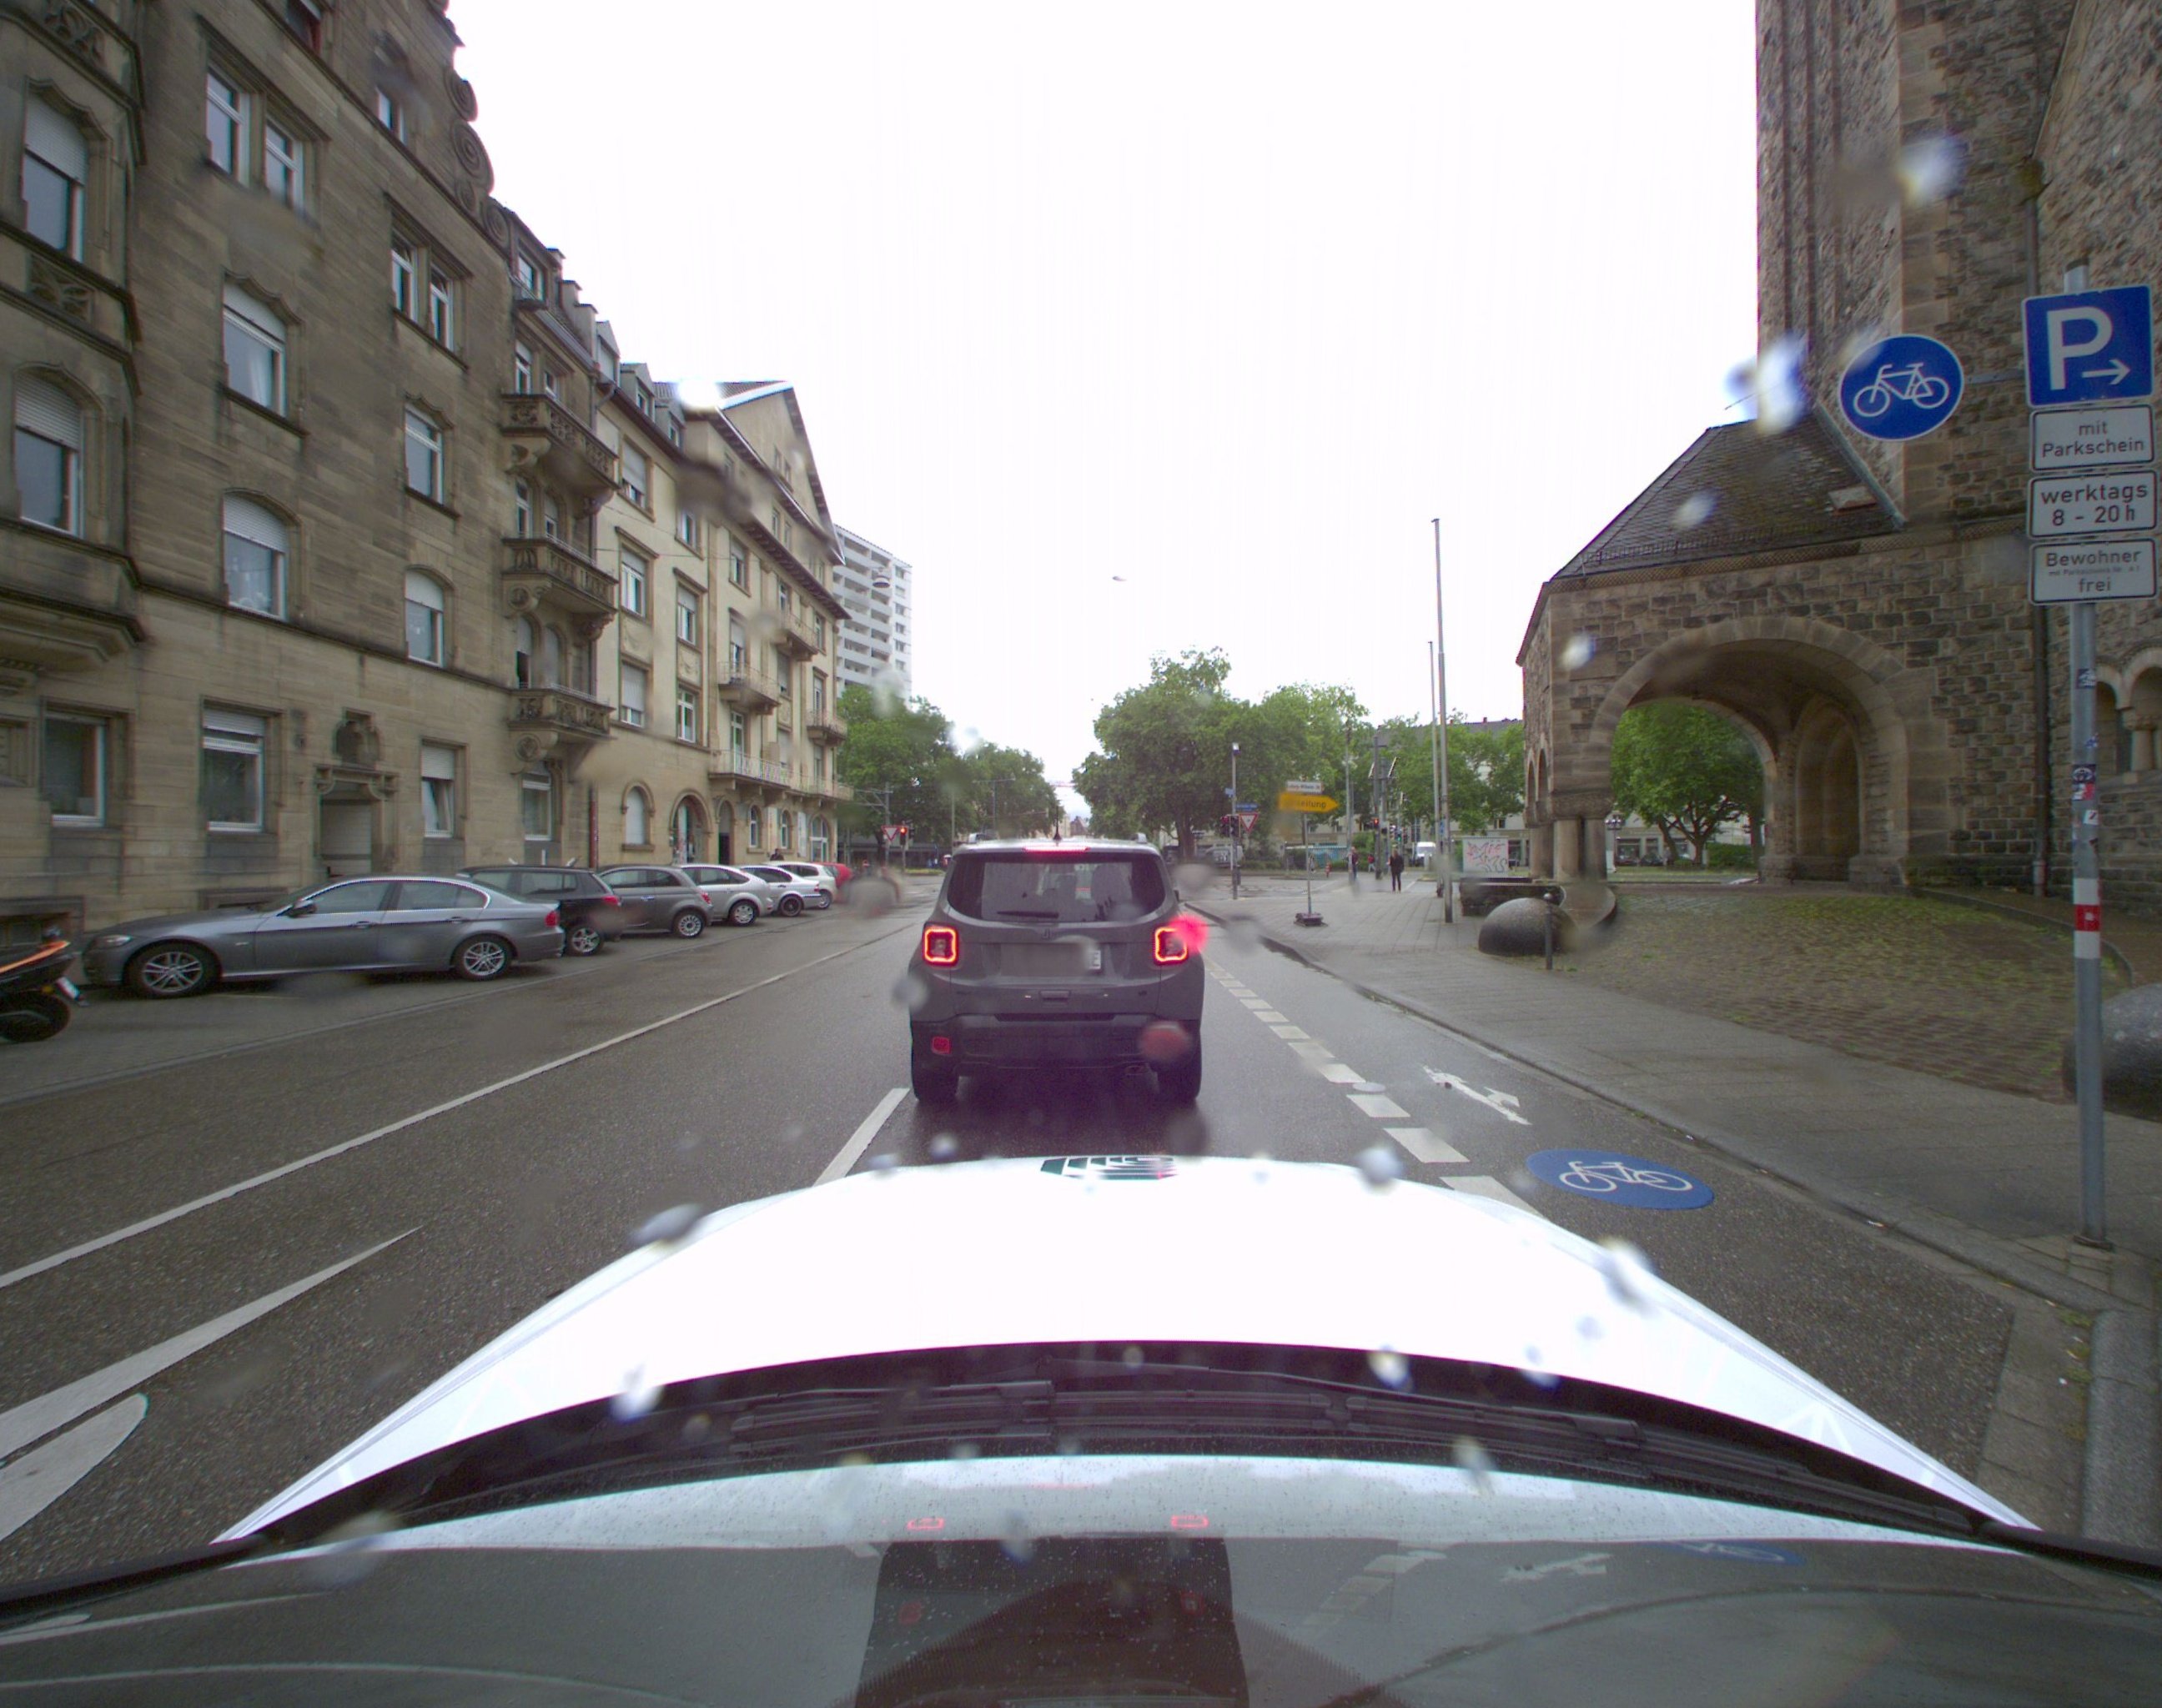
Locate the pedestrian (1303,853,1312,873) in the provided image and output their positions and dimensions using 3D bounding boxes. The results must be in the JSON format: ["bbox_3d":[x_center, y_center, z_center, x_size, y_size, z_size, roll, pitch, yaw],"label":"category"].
[{"bbox_3d":[18.637,0.718,66.896,0.607,1.603,0.497,-1,-1,26],"label":"pedestrian"}]

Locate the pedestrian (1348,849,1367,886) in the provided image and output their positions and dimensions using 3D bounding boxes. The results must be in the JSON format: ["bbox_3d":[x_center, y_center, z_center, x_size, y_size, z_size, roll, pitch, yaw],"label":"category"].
[{"bbox_3d":[13.436,0.640,39.590,0.780,1.759,0.949,-2,-1,16],"label":"pedestrian"}]

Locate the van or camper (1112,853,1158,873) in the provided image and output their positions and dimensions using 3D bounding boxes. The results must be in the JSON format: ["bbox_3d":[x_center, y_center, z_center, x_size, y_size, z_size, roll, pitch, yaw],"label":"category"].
[{"bbox_3d":[8.240,1.377,124.865,6.466,2.912,2.509,-1,0,26],"label":"van or camper"}]

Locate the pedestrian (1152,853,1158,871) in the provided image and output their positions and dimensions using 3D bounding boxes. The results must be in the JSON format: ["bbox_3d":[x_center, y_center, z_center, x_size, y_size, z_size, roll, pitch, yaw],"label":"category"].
[{"bbox_3d":[8.459,0.881,92.916,0.646,2.014,0.484,-1,-1,14],"label":"pedestrian"}]

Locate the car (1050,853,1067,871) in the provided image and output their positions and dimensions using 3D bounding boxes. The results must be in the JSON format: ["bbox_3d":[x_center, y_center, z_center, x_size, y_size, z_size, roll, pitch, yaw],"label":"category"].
[{"bbox_3d":[-2.374,0.827,85.225,1.717,1.739,3.726,-1,0,-2],"label":"car"}]

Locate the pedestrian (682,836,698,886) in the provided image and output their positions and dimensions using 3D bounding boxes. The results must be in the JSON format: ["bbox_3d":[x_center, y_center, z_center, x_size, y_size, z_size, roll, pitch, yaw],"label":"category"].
[{"bbox_3d":[-14.383,0.241,29.955,0.365,1.823,0.347,-2,-1,-1],"label":"pedestrian"}]

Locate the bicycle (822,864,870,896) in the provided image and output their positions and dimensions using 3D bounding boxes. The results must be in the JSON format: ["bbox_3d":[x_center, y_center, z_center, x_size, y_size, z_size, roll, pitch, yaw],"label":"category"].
[{"bbox_3d":[-9.695,1.080,33.677,1.804,1.266,0.498,-1,-1,-1],"label":"bicycle"}]

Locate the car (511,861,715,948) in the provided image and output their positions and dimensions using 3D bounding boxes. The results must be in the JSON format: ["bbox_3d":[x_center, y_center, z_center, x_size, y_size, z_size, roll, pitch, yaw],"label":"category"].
[{"bbox_3d":[-9.529,0.943,16.663,3.419,1.558,1.634,-1,0,-38],"label":"car"}]

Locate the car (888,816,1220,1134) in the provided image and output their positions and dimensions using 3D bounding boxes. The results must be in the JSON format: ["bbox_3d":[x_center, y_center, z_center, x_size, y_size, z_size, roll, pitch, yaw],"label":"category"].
[{"bbox_3d":[-0.123,0.663,6.385,1.769,1.687,3.848,-2,0,1],"label":"car"}]

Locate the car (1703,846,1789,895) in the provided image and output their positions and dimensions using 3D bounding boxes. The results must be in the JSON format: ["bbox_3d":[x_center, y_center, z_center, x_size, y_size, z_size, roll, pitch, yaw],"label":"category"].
[{"bbox_3d":[21.420,0.509,26.345,1.389,1.479,3.239,-1,0,25],"label":"car"}]

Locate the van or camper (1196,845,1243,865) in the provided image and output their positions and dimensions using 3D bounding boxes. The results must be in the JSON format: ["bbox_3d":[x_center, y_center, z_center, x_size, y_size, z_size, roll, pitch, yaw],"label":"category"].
[{"bbox_3d":[16.076,0.111,94.725,5.234,2.315,2.093,0,0,5],"label":"van or camper"}]

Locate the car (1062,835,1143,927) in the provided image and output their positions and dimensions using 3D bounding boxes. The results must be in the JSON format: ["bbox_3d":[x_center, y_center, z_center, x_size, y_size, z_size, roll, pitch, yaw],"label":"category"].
[{"bbox_3d":[0.528,0.612,20.092,1.764,2.013,4.001,-1,0,1],"label":"car"}]

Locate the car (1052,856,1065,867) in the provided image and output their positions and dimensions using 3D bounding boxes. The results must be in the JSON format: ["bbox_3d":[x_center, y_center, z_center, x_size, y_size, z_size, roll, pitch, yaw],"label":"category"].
[{"bbox_3d":[-3.351,1.076,121.392,1.810,1.670,3.916,-1,0,-3],"label":"car"}]

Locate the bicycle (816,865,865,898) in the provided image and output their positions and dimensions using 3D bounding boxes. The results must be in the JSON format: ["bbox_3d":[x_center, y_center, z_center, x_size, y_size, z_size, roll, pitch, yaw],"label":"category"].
[{"bbox_3d":[-9.581,1.074,32.443,1.758,1.266,0.522,-1,-1,-1],"label":"bicycle"}]

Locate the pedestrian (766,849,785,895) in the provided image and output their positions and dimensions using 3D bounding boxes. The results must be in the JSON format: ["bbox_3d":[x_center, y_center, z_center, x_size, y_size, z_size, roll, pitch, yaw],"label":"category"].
[{"bbox_3d":[-13.446,0.787,35.866,0.565,2.014,0.655,-1,0,1],"label":"pedestrian"}]

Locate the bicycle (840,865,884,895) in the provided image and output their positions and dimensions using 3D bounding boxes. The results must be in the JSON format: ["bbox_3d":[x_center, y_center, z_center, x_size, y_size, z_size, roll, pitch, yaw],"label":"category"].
[{"bbox_3d":[-9.555,1.112,35.582,1.758,1.266,0.608,-1,-1,-1],"label":"bicycle"}]

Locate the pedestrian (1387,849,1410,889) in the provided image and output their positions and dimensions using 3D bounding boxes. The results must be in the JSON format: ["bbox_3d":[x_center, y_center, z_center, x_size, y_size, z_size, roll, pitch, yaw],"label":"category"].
[{"bbox_3d":[13.246,0.607,33.957,0.775,1.645,0.659,-2,-1,25],"label":"pedestrian"}]

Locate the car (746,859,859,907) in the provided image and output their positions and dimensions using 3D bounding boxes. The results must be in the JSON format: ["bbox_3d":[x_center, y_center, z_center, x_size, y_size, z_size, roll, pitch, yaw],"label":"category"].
[{"bbox_3d":[-9.756,0.977,28.613,3.419,1.558,1.686,-1,0,-38],"label":"car"}]

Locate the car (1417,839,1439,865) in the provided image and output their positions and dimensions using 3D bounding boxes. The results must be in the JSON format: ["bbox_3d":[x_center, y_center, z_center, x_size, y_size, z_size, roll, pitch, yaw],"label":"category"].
[{"bbox_3d":[35.530,-0.227,83.300,1.889,2.555,4.815,-1,0,25],"label":"car"}]

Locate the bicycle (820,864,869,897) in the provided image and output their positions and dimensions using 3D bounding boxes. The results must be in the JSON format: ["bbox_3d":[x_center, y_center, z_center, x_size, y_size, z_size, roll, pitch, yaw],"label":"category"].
[{"bbox_3d":[-9.584,1.067,32.991,1.804,1.266,0.498,-1,-1,-1],"label":"bicycle"}]

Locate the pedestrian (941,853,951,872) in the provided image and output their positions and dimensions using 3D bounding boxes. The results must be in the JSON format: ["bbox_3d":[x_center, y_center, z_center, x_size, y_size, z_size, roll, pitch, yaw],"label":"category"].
[{"bbox_3d":[-13.545,0.873,81.496,0.685,1.826,0.624,-2,-1,29],"label":"pedestrian"}]

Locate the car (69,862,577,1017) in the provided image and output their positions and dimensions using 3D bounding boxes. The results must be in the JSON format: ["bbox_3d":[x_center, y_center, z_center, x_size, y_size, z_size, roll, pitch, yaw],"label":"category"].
[{"bbox_3d":[-9.403,0.919,10.649,4.573,1.545,1.668,-1,0,-42],"label":"car"}]

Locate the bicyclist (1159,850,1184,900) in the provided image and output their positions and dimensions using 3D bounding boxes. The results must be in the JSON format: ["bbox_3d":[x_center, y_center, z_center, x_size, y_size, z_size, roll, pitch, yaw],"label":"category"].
[{"bbox_3d":[3.036,0.700,27.358,0.684,1.617,0.884,-2,0,0],"label":"bicyclist"}]

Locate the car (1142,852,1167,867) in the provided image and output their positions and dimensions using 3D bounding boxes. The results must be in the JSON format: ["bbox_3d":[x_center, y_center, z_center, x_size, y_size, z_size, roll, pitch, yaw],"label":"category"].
[{"bbox_3d":[10.799,0.838,119.432,3.411,2.014,1.554,-2,-1,15],"label":"car"}]

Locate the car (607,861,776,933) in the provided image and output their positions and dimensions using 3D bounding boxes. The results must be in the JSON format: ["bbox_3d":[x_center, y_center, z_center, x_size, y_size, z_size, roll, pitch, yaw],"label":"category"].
[{"bbox_3d":[-9.380,0.967,19.690,3.419,1.558,1.686,-1,0,-38],"label":"car"}]

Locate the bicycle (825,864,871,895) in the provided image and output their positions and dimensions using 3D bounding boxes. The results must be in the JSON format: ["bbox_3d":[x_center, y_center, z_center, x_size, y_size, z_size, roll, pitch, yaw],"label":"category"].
[{"bbox_3d":[-9.903,1.071,34.711,1.758,1.266,0.608,-1,-1,-1],"label":"bicycle"}]

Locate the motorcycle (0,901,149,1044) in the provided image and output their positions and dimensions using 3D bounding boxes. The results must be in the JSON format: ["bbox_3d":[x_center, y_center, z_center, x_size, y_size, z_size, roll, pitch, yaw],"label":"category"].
[{"bbox_3d":[-9.401,0.999,6.874,1.880,1.162,0.627,2,-2,-36],"label":"motorcycle"}]

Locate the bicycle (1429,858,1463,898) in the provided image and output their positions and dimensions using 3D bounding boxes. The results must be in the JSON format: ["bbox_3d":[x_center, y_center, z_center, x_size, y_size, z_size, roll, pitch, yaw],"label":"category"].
[{"bbox_3d":[11.063,0.690,24.750,0.327,1.154,2.079,-1,0,7],"label":"bicycle"}]

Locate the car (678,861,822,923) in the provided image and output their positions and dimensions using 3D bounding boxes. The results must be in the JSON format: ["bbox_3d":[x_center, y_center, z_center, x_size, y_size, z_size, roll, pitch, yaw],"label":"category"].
[{"bbox_3d":[-9.274,0.998,22.873,3.419,1.558,1.686,-1,0,-38],"label":"car"}]

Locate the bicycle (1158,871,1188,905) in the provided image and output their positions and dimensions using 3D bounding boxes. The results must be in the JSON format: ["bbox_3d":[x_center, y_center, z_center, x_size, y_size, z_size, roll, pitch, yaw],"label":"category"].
[{"bbox_3d":[3.046,1.107,27.232,0.689,1.021,2.658,-2,0,1],"label":"bicycle"}]

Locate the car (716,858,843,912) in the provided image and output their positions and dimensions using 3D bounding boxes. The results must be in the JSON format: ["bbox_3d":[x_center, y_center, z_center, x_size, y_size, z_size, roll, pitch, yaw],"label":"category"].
[{"bbox_3d":[-9.499,0.940,25.738,3.419,1.558,1.686,-1,0,-38],"label":"car"}]

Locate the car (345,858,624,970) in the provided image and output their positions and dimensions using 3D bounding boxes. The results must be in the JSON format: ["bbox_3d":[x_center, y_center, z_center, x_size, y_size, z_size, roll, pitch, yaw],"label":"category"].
[{"bbox_3d":[-9.772,0.888,13.579,3.571,1.598,1.587,-1,0,-38],"label":"car"}]

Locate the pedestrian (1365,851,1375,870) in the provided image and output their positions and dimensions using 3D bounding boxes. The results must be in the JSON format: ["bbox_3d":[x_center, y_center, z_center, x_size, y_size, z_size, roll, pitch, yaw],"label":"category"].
[{"bbox_3d":[23.546,0.543,66.299,0.667,1.554,0.766,-1,-2,29],"label":"pedestrian"}]
